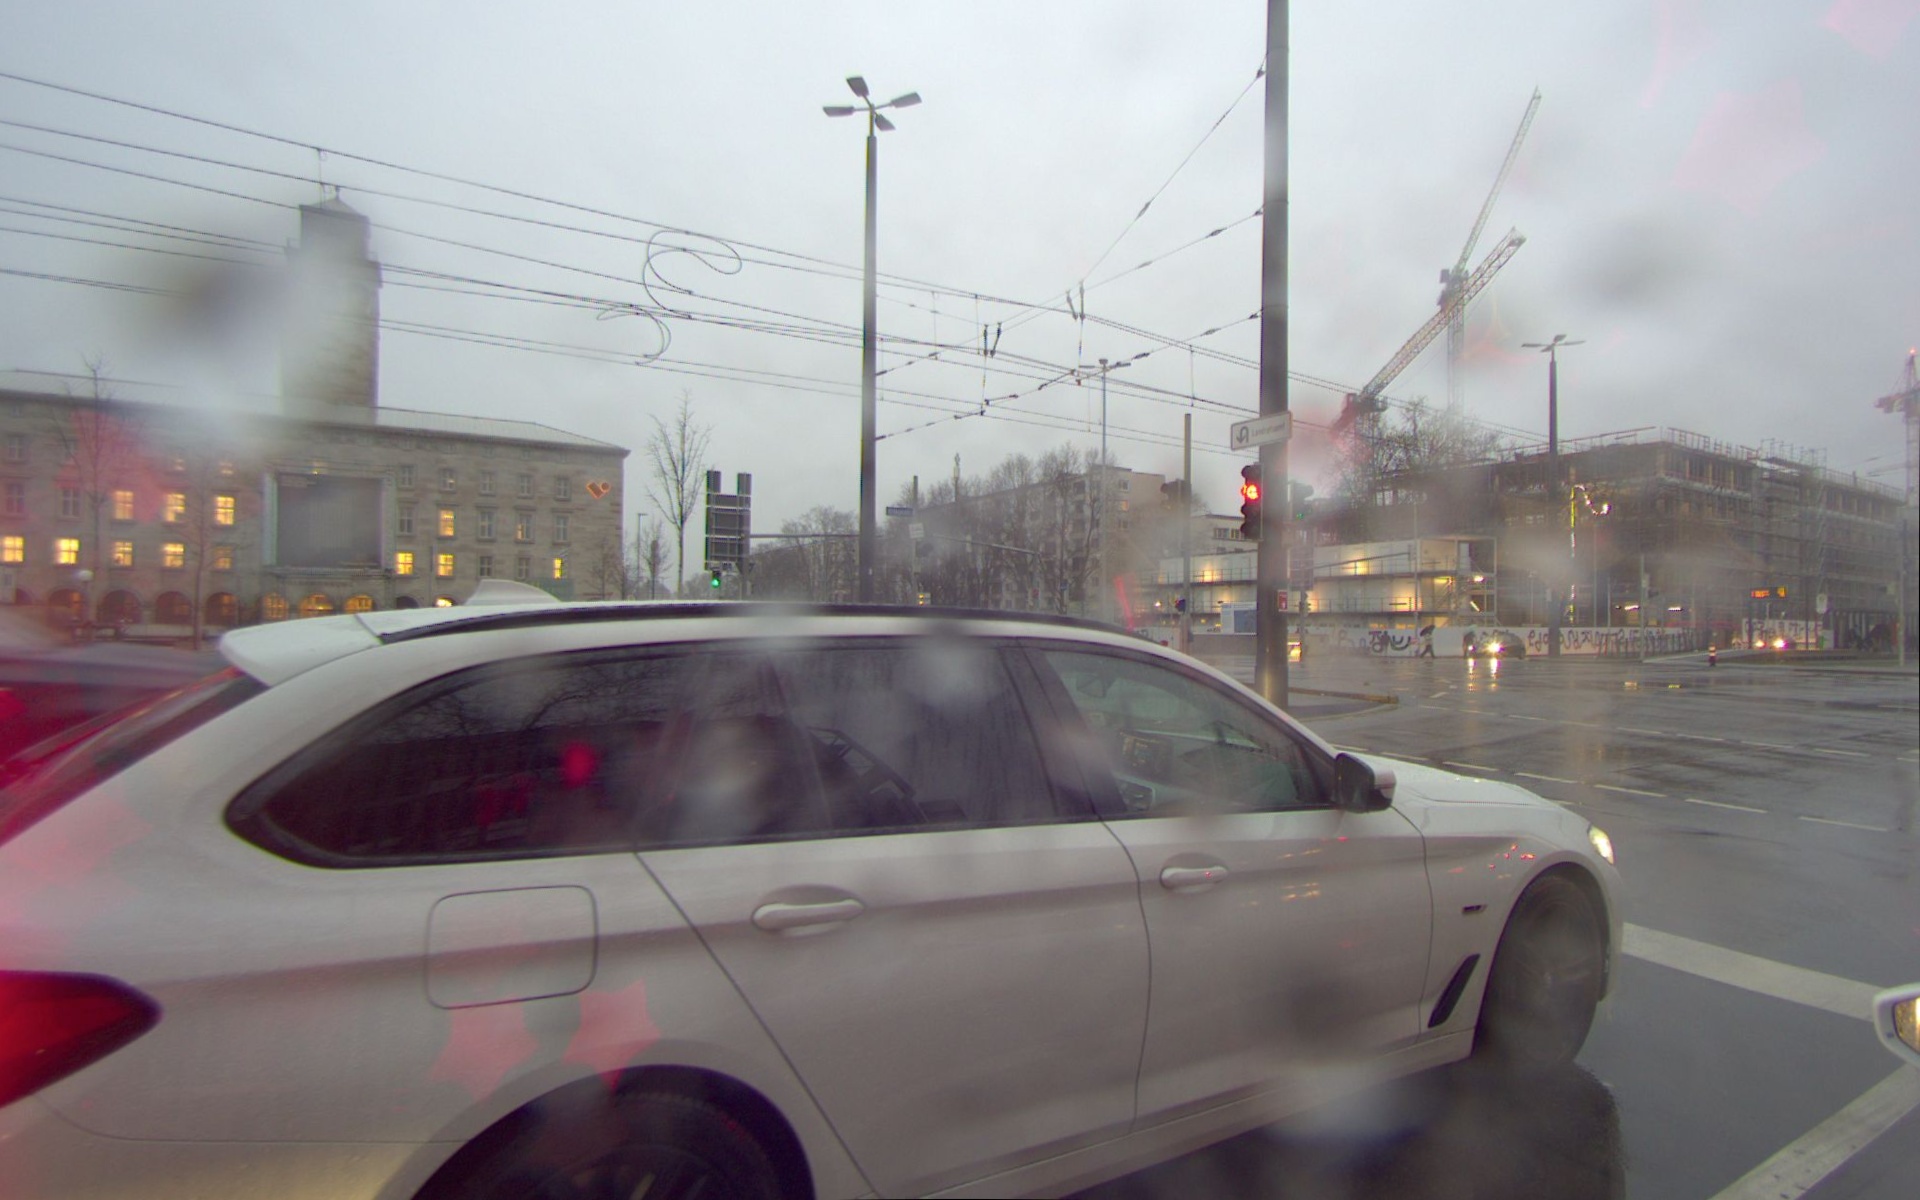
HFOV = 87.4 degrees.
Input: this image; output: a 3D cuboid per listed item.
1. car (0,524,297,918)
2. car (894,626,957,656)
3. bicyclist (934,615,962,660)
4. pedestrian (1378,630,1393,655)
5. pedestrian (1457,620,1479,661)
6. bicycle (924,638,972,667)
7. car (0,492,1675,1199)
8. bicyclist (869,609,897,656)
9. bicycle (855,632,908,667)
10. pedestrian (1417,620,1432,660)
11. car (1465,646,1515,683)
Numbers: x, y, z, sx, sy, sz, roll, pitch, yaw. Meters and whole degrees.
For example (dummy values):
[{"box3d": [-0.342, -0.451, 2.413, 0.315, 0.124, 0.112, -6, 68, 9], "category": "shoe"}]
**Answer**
[{"box3d": [-5.794, 0.524, 4.558, 4.562, 1.766, 1.693, 2, -2, -33], "category": "car"}, {"box3d": [-2.060, 2.413, 59.370, 1.978, 1.706, 3.965, 1, -2, -33], "category": "car"}, {"box3d": [-0.459, 1.439, 38.946, 0.612, 1.719, 1.026, 2, -2, -36], "category": "bicyclist"}, {"box3d": [26.702, 2.682, 63.006, 0.782, 1.549, 0.645, 0, -2, 31], "category": "pedestrian"}, {"box3d": [25.628, 2.026, 50.706, 0.741, 2.040, 0.785, 2, -2, -40], "category": "pedestrian"}, {"box3d": [-0.480, 2.009, 38.942, 0.612, 1.046, 2.356, 2, -2, -36], "category": "bicycle"}, {"box3d": [-0.057, 0.701, 3.038, 4.868, 1.540, 1.900, 2, -2, -32], "category": "car"}, {"box3d": [-3.103, 1.326, 40.382, 0.715, 1.863, 0.986, 2, -2, -39], "category": "bicyclist"}, {"box3d": [-3.186, 1.983, 40.507, 0.714, 1.380, 2.809, 2, -3, -38], "category": "bicycle"}, {"box3d": [23.909, 2.042, 51.717, 0.635, 2.040, 0.503, 4, -4, -40], "category": "pedestrian"}, {"box3d": [31.186, 3.771, 59.054, 1.736, 2.040, 3.980, -1, -2, 41], "category": "car"}]
